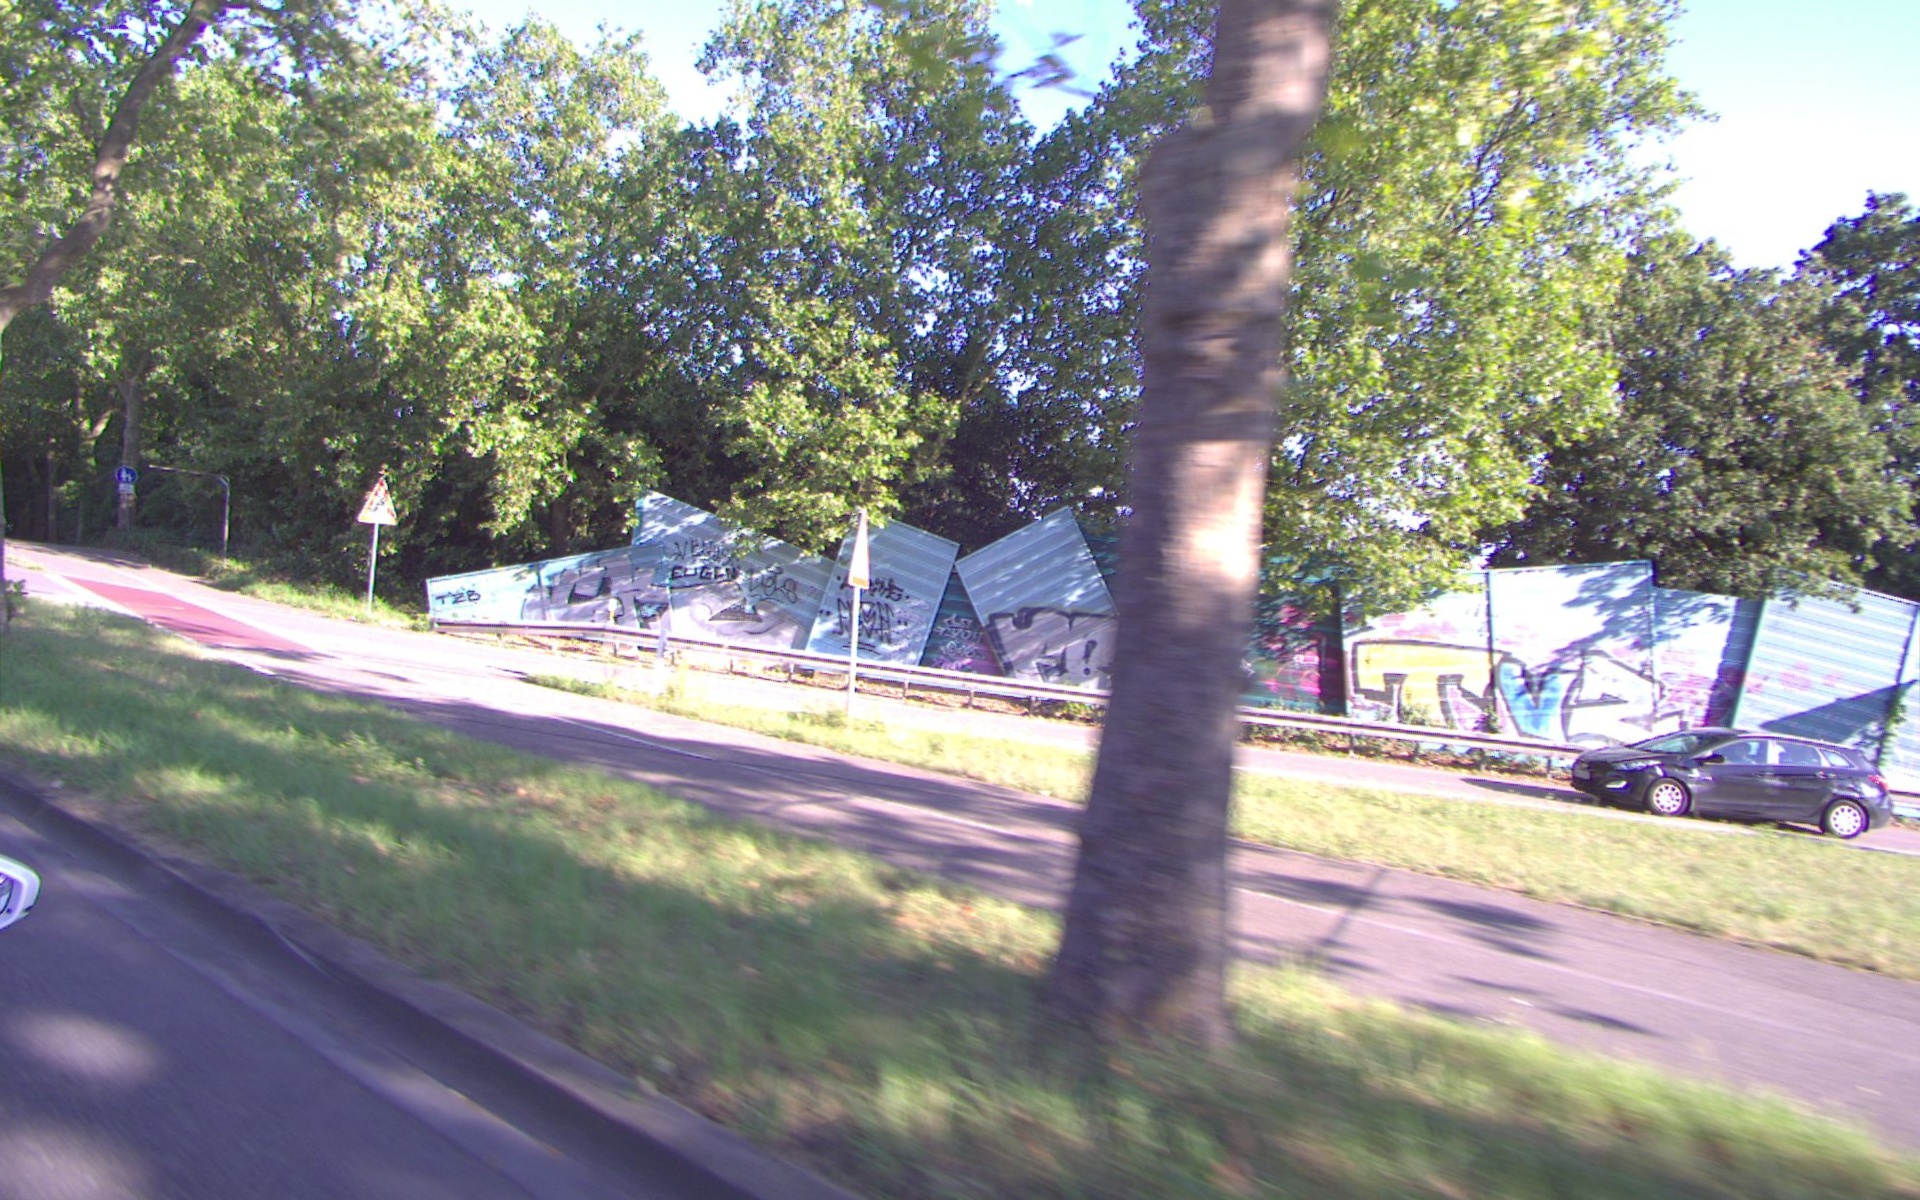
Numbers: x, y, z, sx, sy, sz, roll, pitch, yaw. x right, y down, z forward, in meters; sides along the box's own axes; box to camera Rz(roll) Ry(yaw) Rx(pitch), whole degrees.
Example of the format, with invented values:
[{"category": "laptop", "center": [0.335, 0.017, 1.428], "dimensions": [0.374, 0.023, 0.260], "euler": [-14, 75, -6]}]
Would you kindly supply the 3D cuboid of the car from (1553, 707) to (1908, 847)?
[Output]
[{"category": "car", "center": [12.336, 2.801, 16.366], "dimensions": [4.143, 1.457, 1.800], "euler": [7, -1, 6]}]
